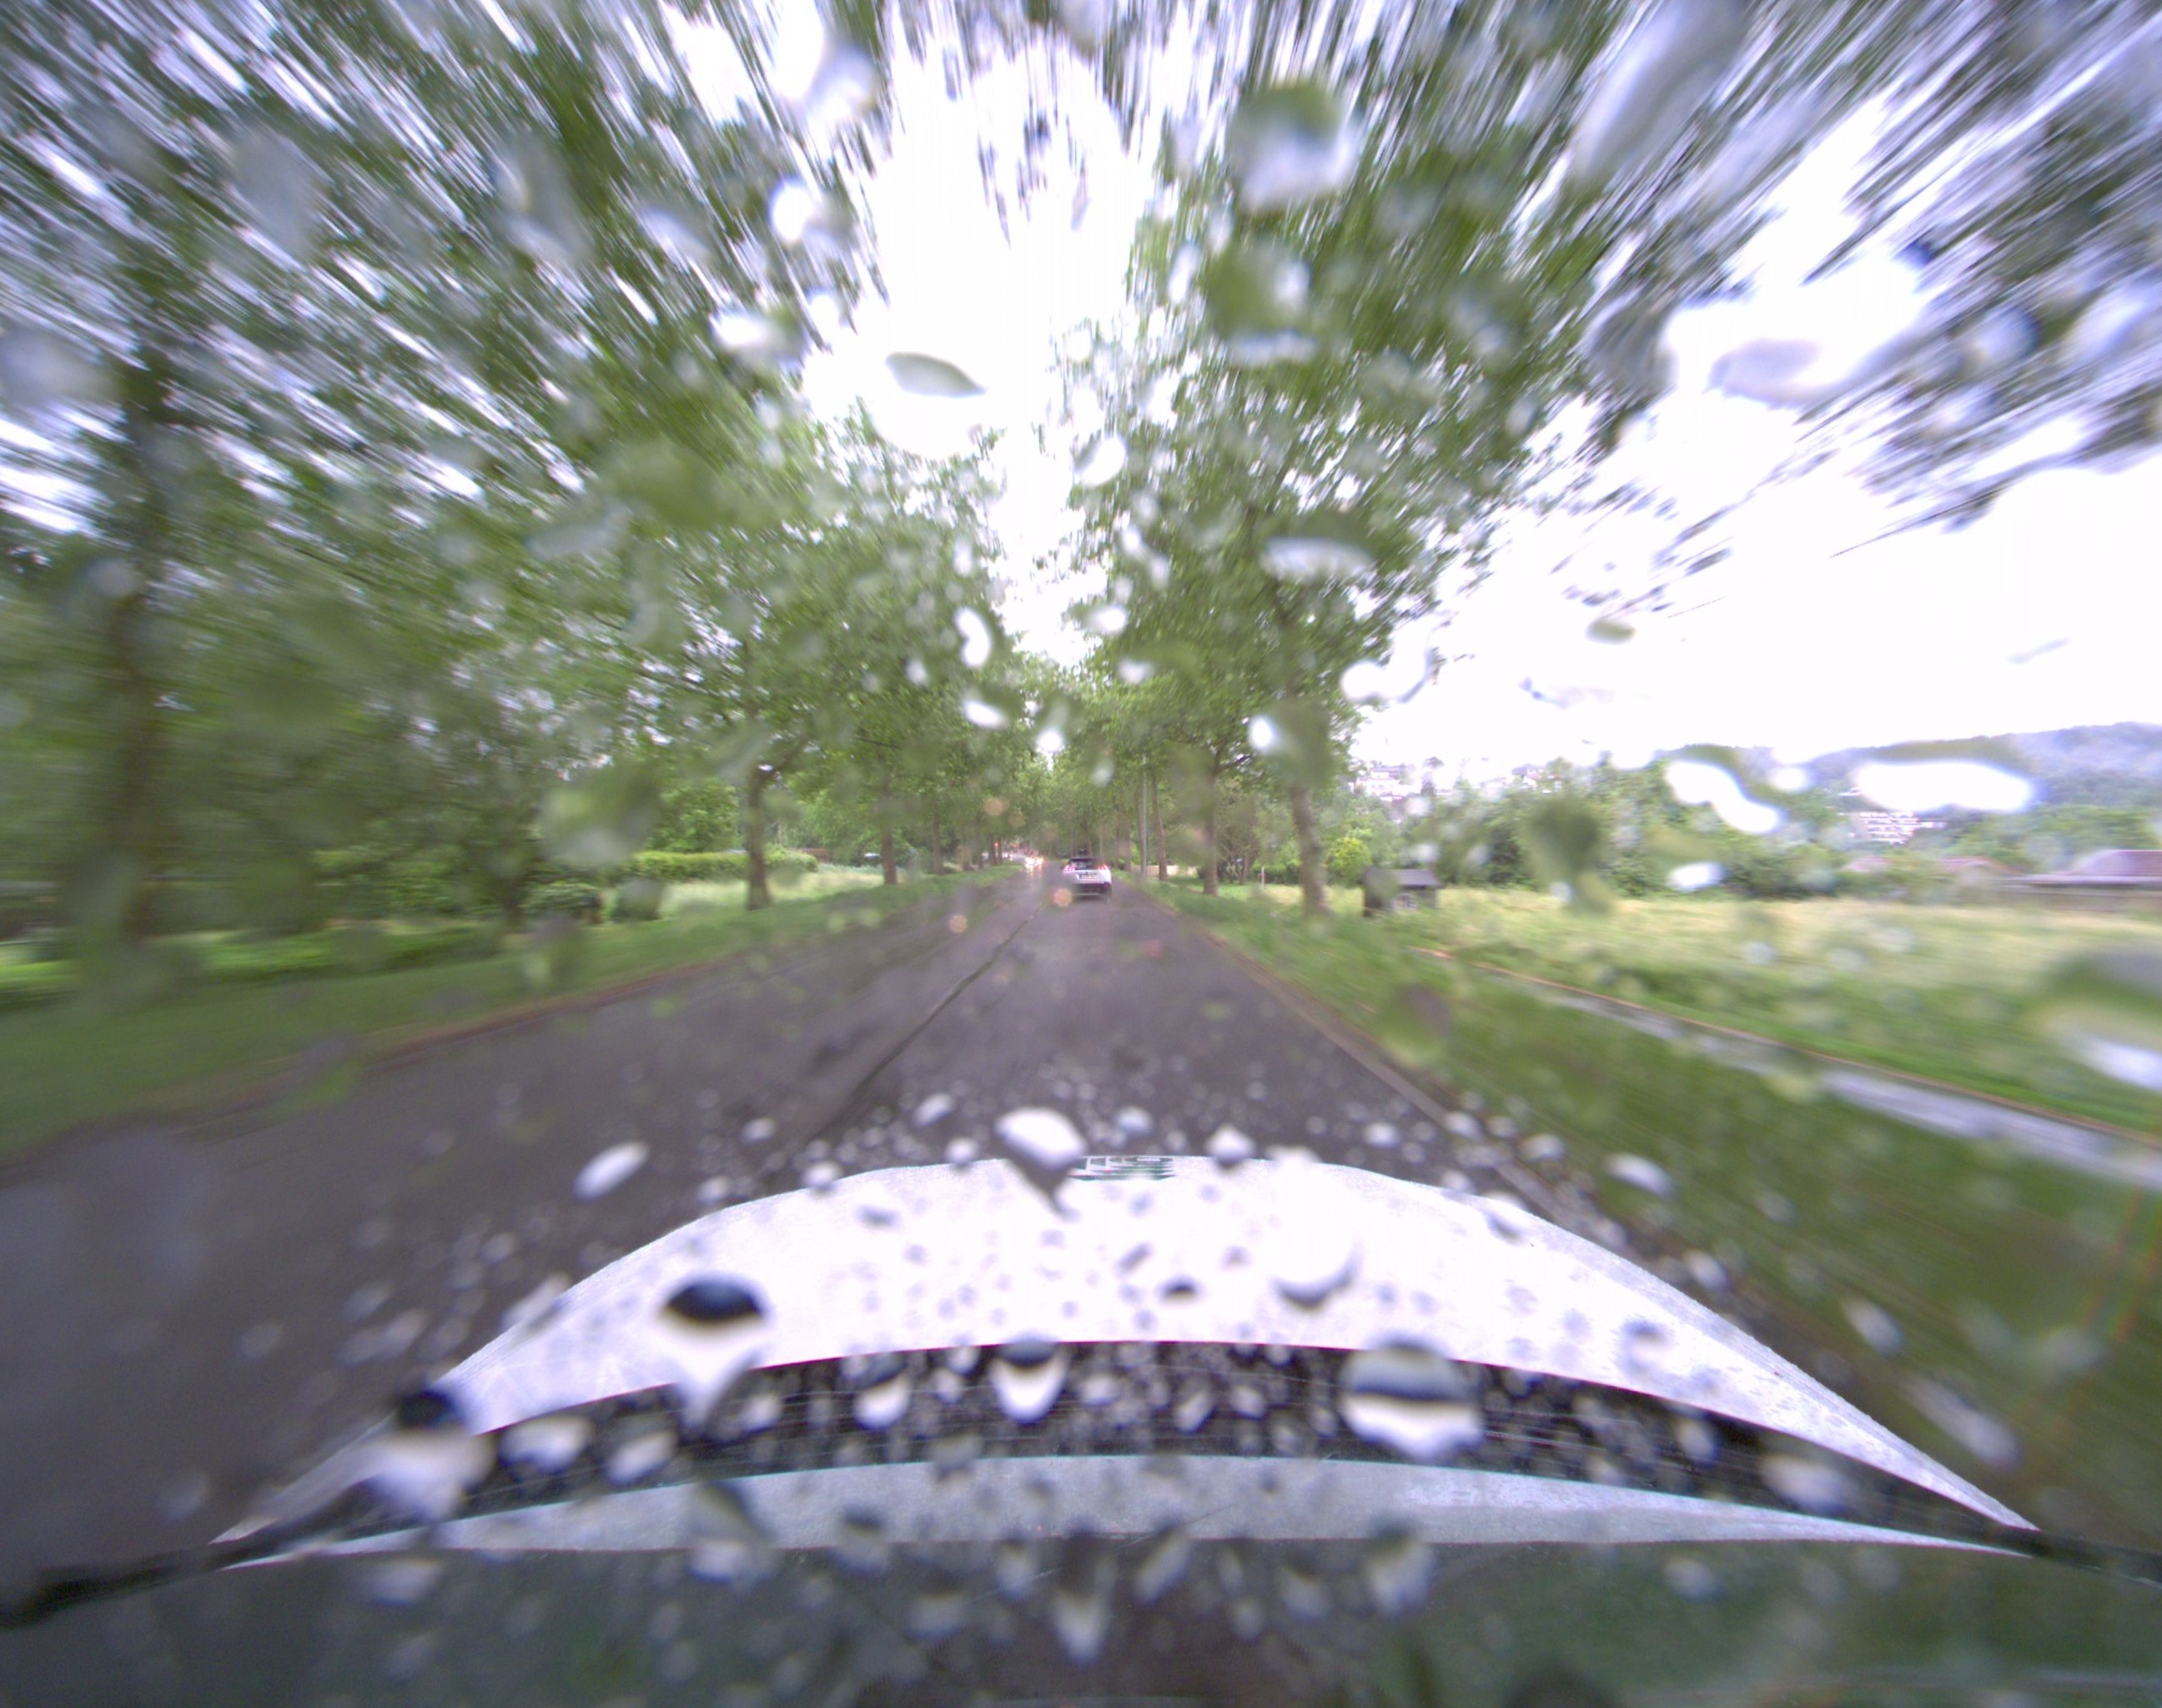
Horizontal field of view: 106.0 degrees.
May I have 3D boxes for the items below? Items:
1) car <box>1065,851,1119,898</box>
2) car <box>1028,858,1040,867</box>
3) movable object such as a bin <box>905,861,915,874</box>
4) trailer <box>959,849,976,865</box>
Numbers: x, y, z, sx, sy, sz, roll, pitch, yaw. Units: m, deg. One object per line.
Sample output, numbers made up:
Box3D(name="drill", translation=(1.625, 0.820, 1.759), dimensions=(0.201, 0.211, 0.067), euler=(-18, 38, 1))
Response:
Box3D(name="car", translation=(0.326, 0.697, 30.001), dimensions=(1.789, 1.578, 3.841), euler=(0, 0, -2))
Box3D(name="car", translation=(-7.487, 1.356, 129.585), dimensions=(1.728, 1.423, 4.220), euler=(-1, 0, -4))
Box3D(name="movable object such as a bin", translation=(-19.317, 1.551, 92.083), dimensions=(0.961, 1.422, 0.964), euler=(0, 0, -5))
Box3D(name="trailer", translation=(-18.728, 0.476, 134.723), dimensions=(2.480, 2.567, 5.323), euler=(0, 0, -5))
